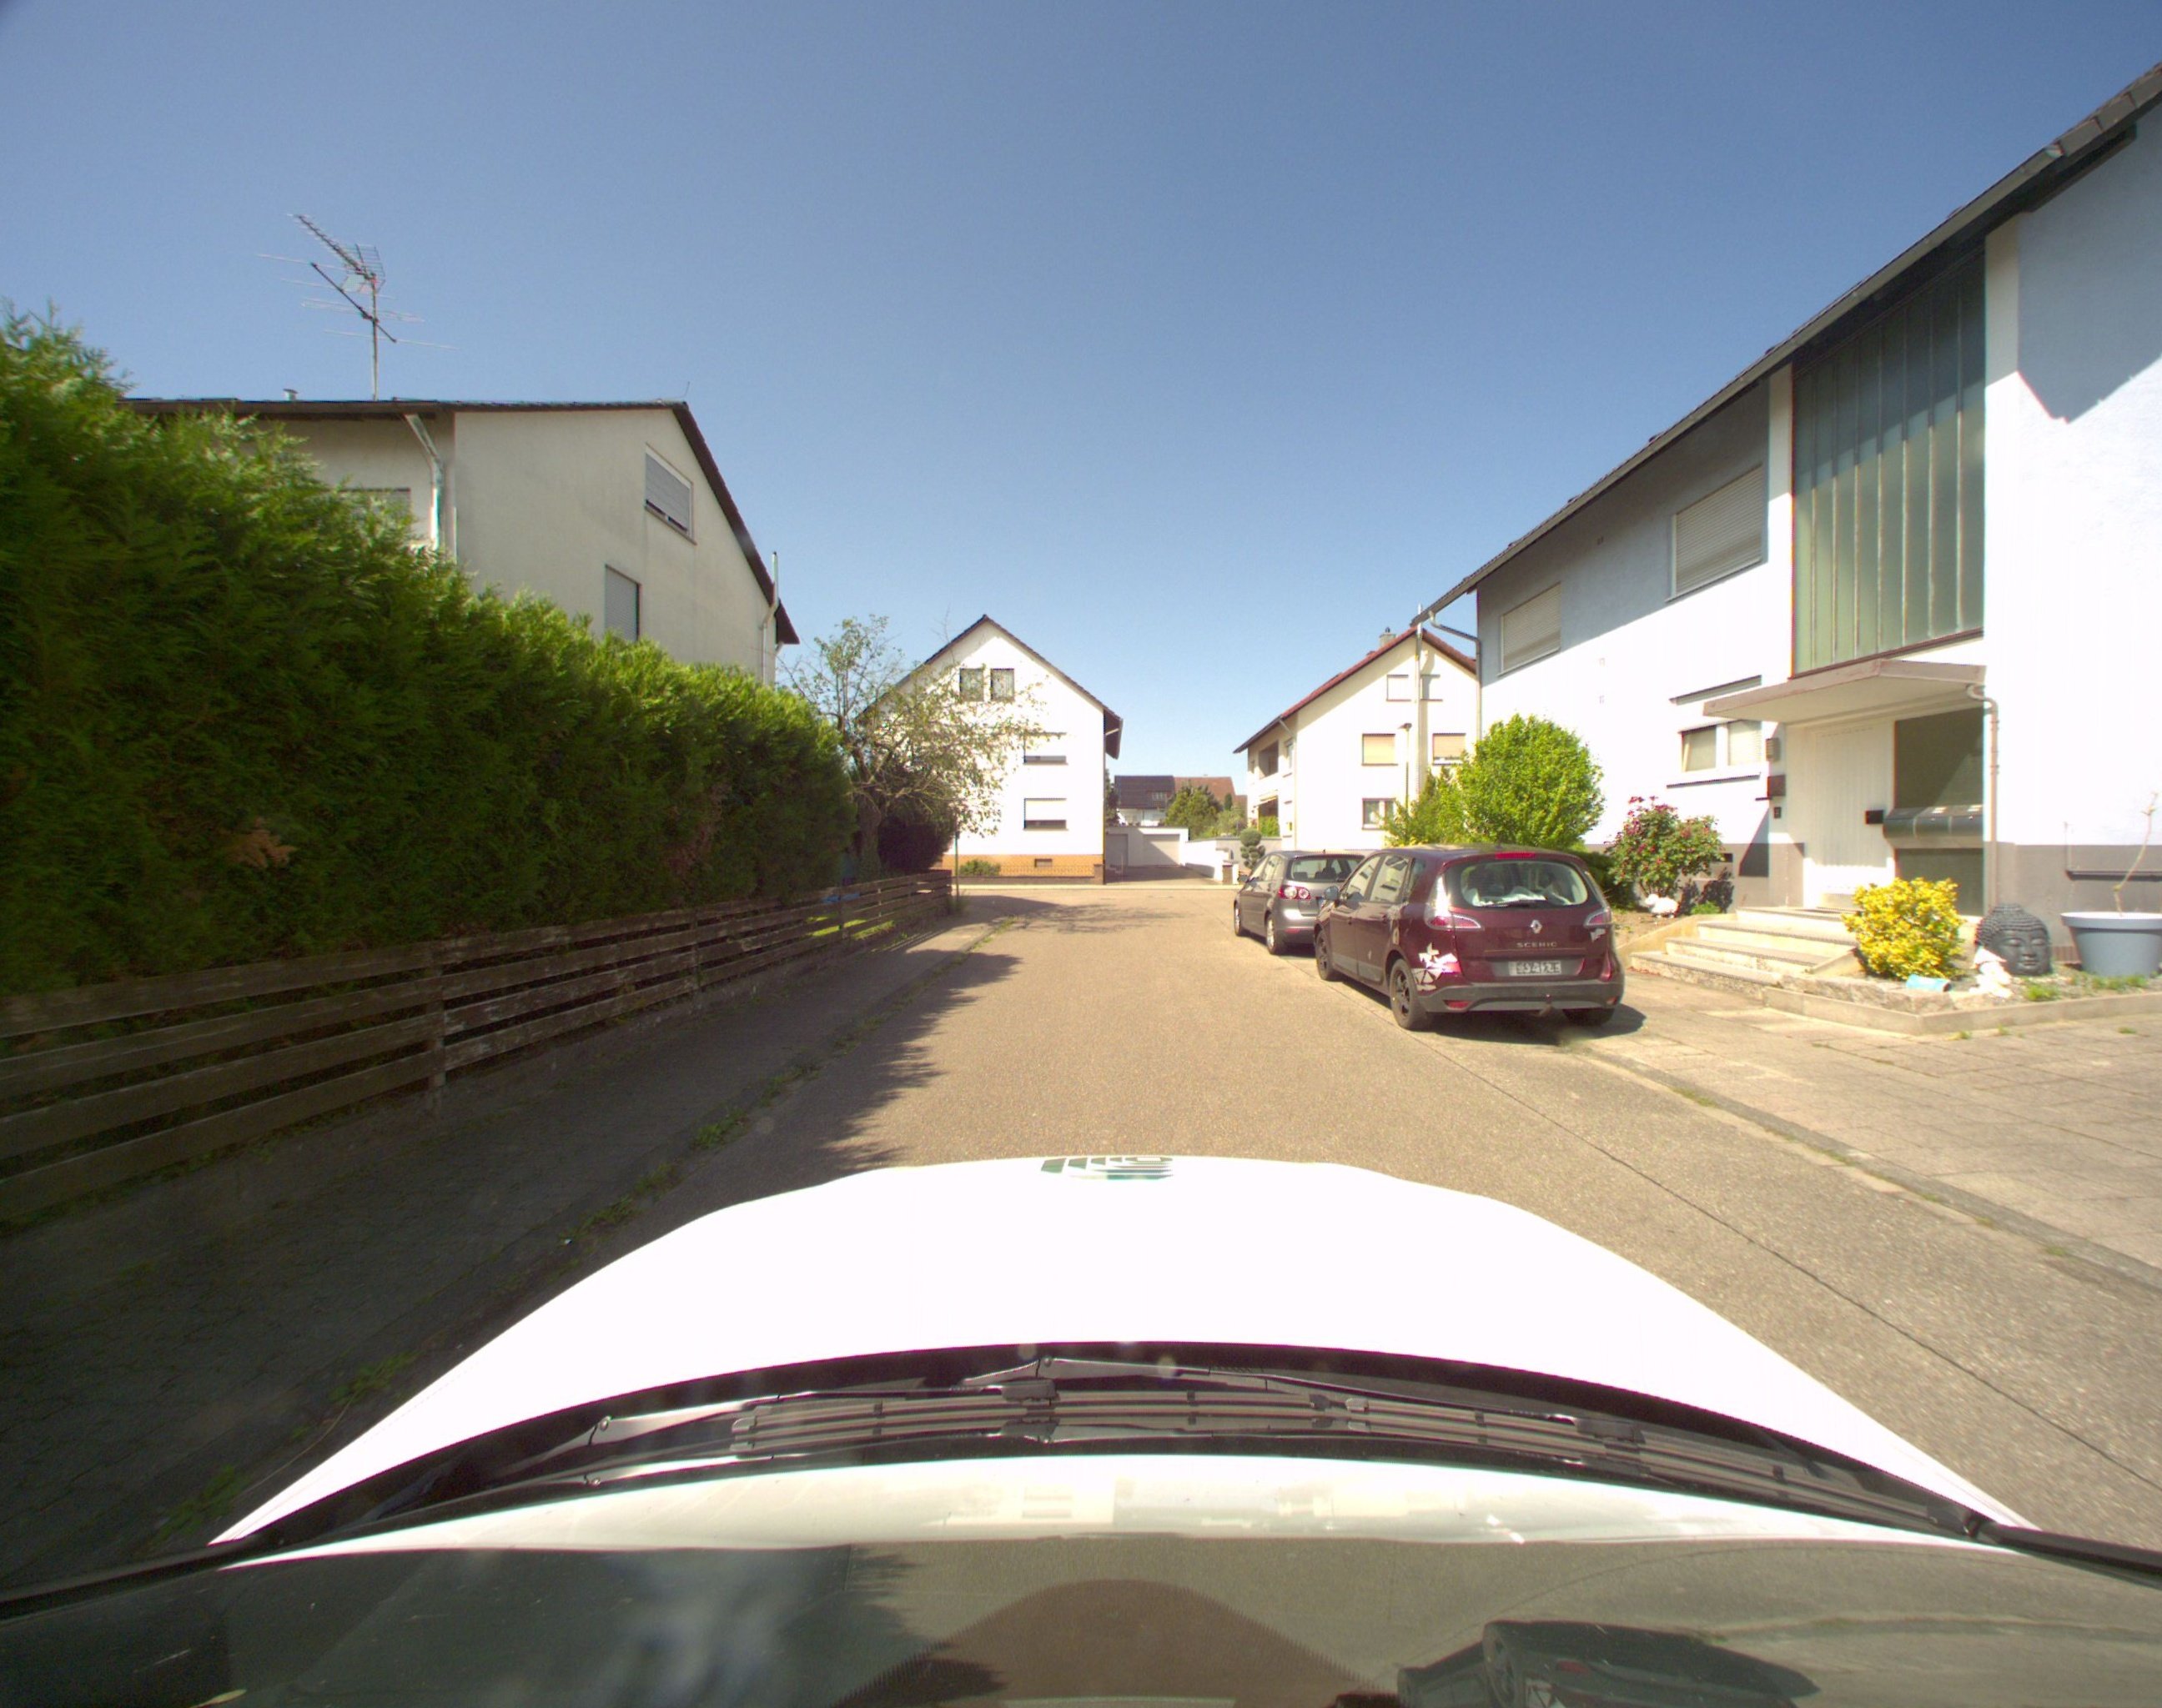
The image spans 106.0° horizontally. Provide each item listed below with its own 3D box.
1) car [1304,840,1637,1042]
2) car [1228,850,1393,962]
[{"bbox_3d":[3.633,0.673,8.491,1.638,1.581,4.150,-1,0,3],"label":"car"},{"bbox_3d":[3.614,0.724,13.542,1.639,1.546,4.048,-1,0,1],"label":"car"}]
